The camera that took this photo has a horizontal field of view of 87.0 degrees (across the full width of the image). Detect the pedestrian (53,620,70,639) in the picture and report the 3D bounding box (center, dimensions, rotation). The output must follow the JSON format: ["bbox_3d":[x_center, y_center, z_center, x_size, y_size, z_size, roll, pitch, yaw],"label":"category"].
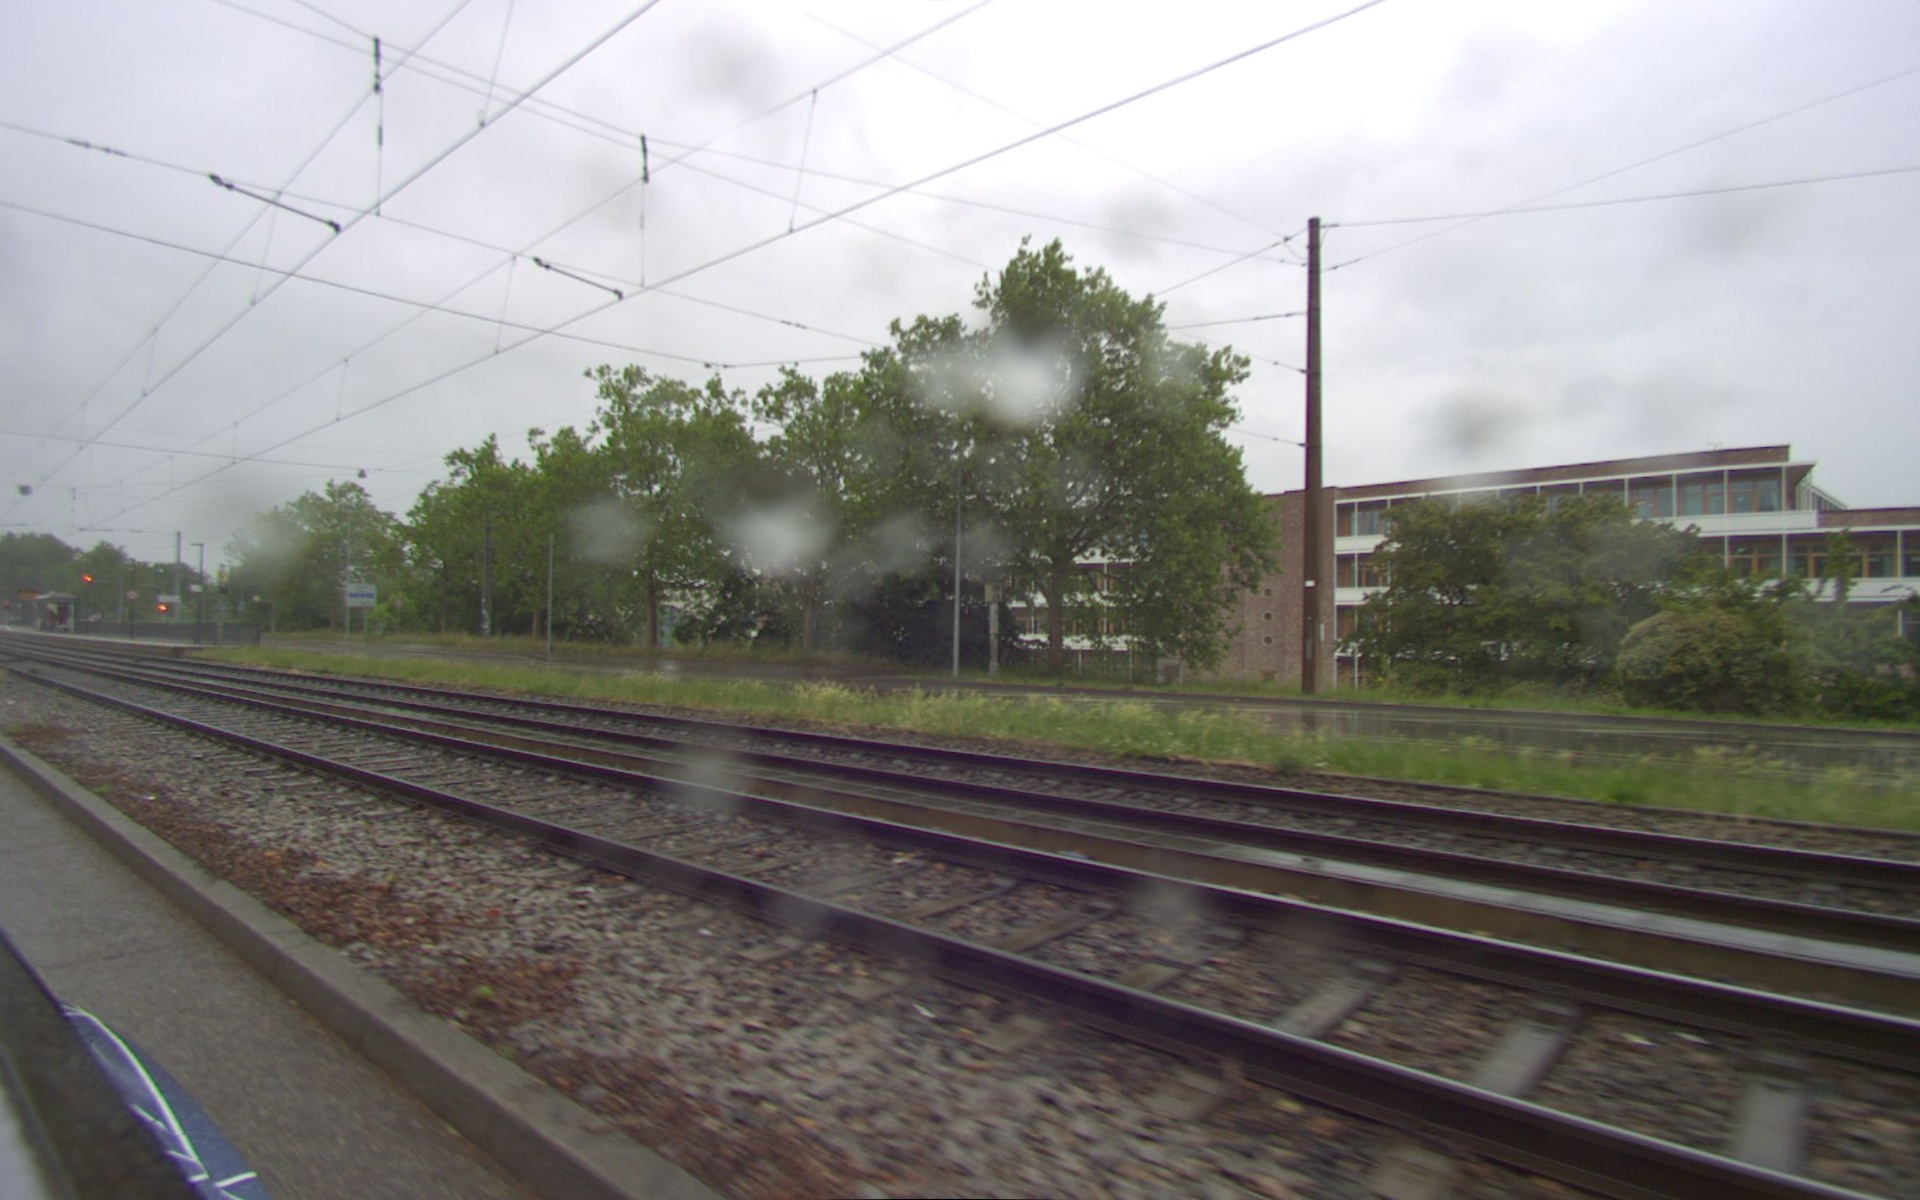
[{"bbox_3d":[-66.903,2.193,75.367,0.858,1.326,0.822,-1,-1,42],"label":"pedestrian"}]

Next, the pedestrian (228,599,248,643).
[{"bbox_3d":[-67.977,1.965,95.260,1.152,4.059,1.524,0,-1,-20],"label":"pedestrian"}]
